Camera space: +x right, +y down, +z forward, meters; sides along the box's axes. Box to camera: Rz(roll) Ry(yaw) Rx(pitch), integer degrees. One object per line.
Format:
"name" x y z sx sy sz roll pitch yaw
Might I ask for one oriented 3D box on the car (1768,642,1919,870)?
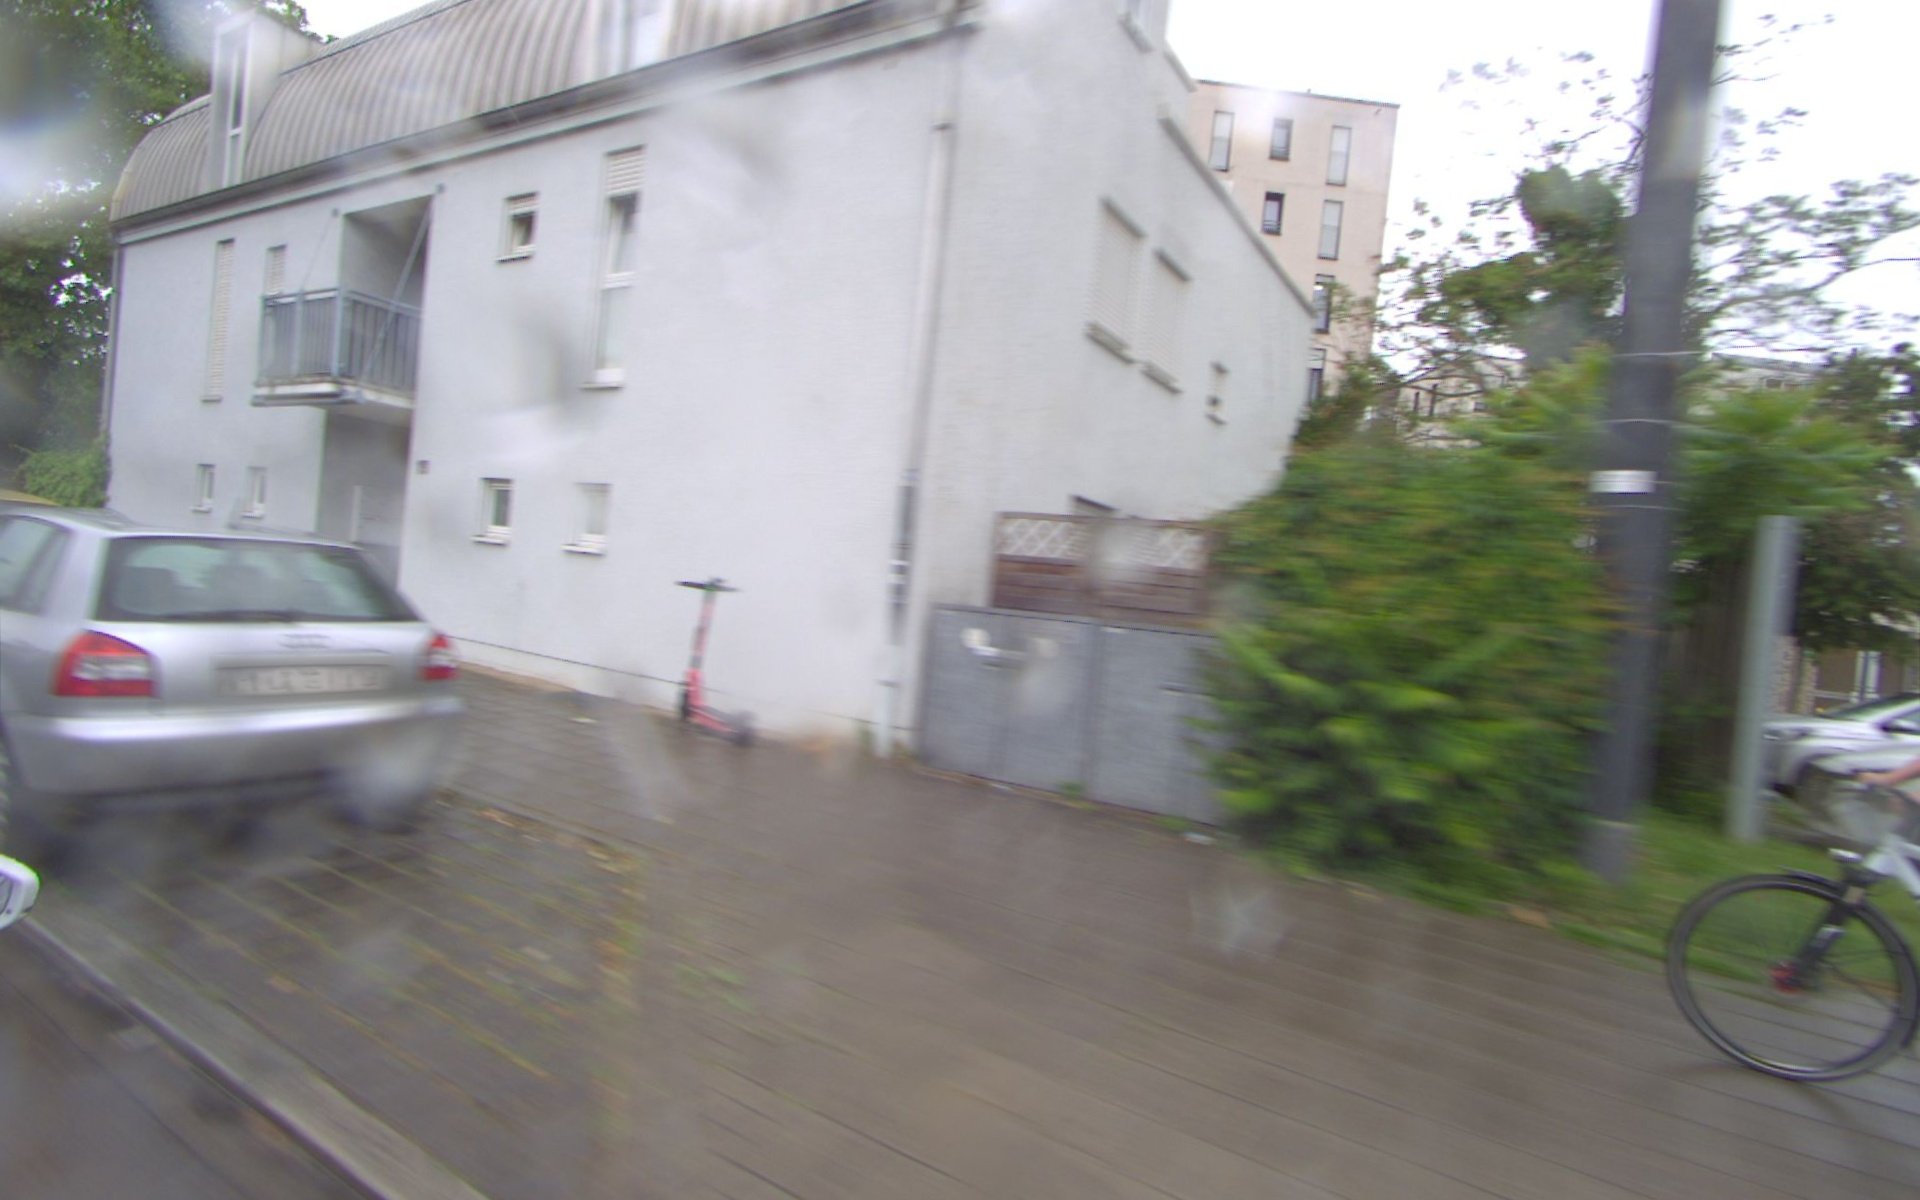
"car" 8.672 1.371 7.111 4.293 1.553 1.965 7 0 34

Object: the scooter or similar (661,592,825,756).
"scooter or similar" -1.701 0.544 7.772 1.375 1.098 0.333 5 0 38

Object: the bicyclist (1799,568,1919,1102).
"bicyclist" 3.255 0.740 3.126 0.758 1.578 0.535 6 0 24

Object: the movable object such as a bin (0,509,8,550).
"movable object such as a bin" -22.008 -1.615 22.736 0.726 0.911 0.536 6 3 32

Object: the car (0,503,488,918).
"car" -4.644 0.229 5.376 4.574 1.425 1.649 5 3 33

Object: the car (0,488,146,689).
"car" -8.396 -0.213 8.090 3.733 1.424 1.805 5 3 33

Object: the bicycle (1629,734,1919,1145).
"bicycle" 3.302 1.113 3.102 1.914 1.106 0.537 5 0 25

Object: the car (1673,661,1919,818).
"car" 10.845 1.694 11.834 3.600 1.464 1.968 7 0 27
